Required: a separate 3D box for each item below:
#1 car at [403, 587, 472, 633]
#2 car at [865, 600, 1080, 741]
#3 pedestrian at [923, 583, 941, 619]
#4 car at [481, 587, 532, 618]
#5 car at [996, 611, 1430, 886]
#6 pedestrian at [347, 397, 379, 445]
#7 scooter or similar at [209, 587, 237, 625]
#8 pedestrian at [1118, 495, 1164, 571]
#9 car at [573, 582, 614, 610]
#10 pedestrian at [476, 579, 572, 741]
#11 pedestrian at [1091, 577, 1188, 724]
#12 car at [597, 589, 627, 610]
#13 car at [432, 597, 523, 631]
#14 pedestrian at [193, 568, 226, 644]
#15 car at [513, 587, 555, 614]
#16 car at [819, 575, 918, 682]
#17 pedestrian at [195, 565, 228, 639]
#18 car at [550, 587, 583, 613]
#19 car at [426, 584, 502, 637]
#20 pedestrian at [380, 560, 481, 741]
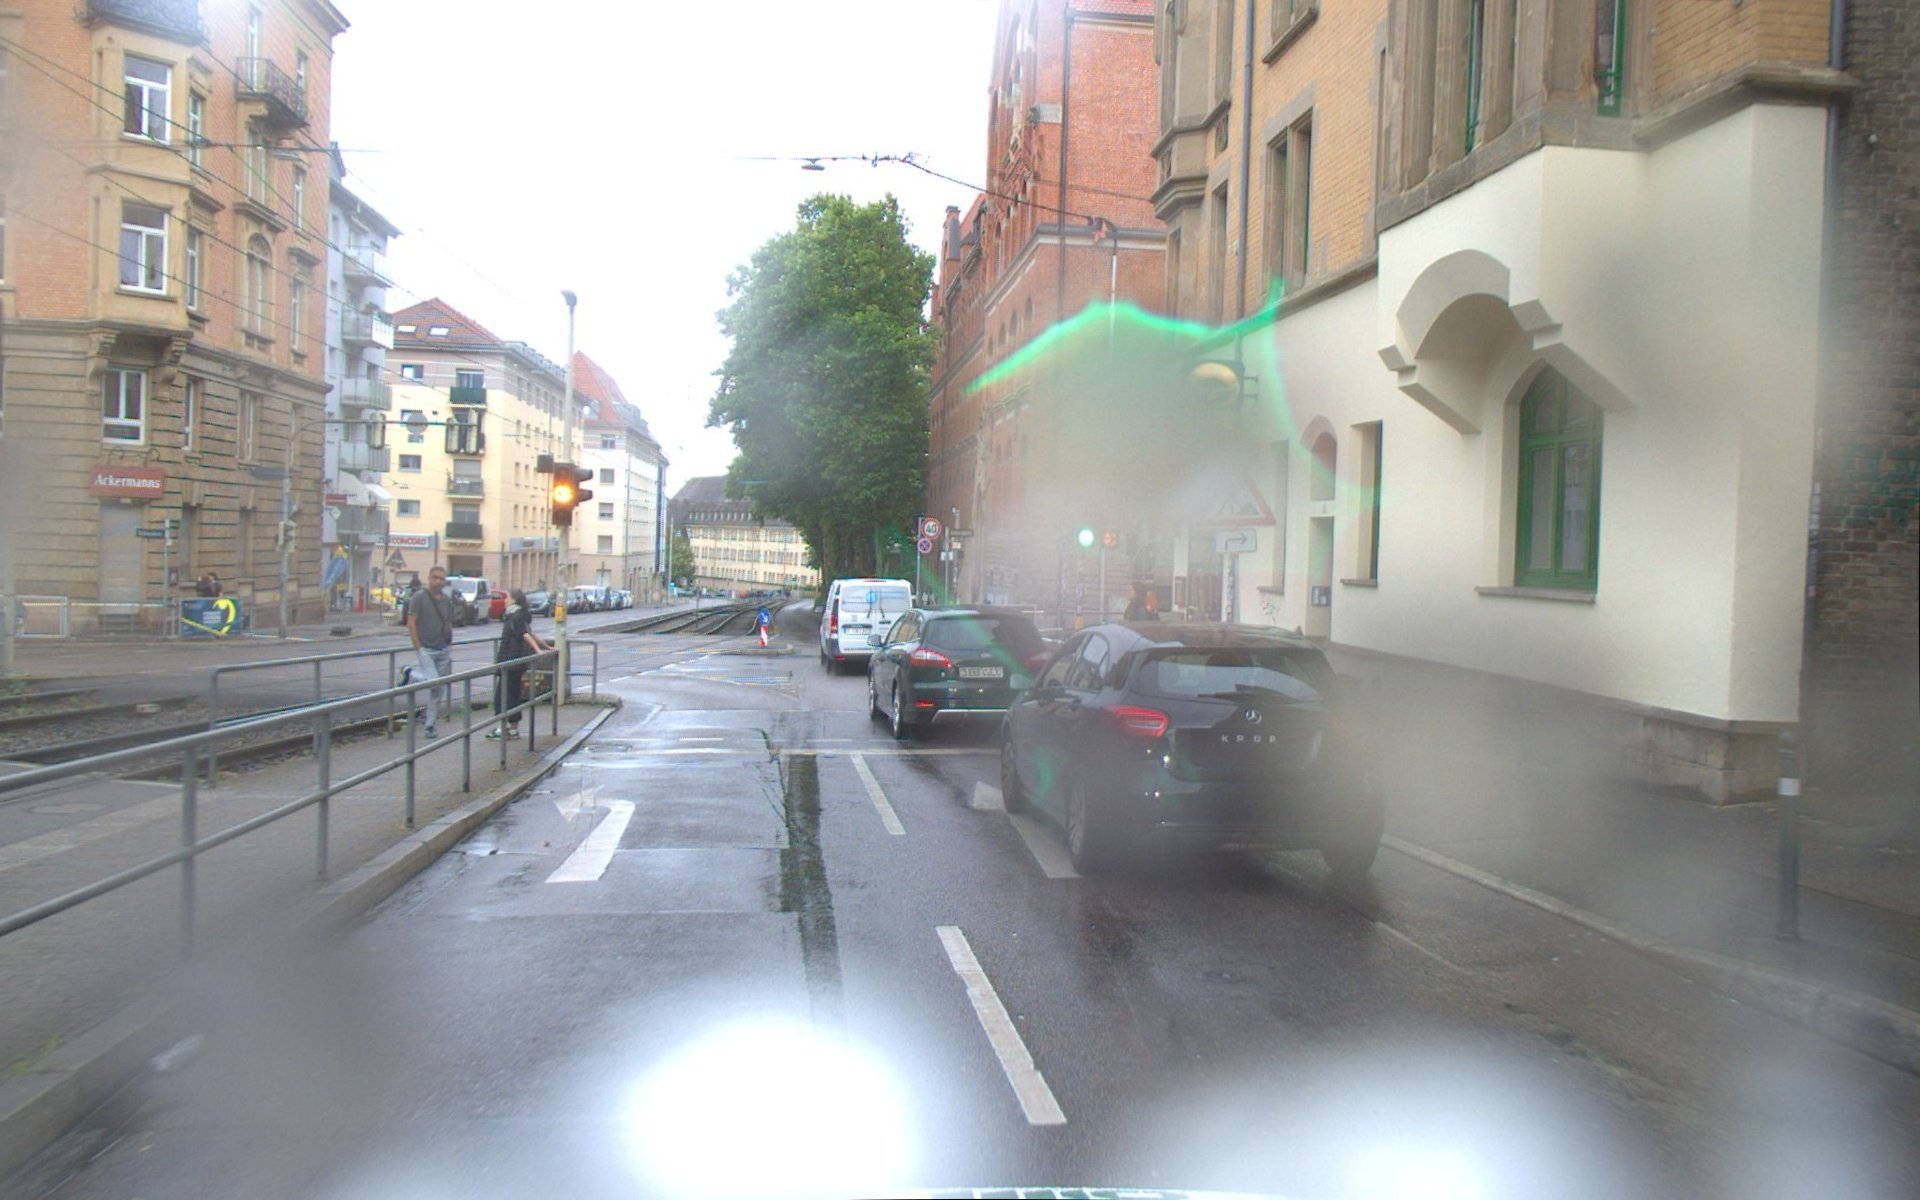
[{"bbox_3d":[-20.524,0.384,65.113,1.700,1.680,4.357,2,0,-7],"label":"car"},{"bbox_3d":[0.026,0.778,20.161,1.898,1.478,4.308,2,0,-9],"label":"car"},{"bbox_3d":[-1.344,0.028,79.562,0.807,1.708,0.859,1,-1,-4],"label":"pedestrian"},{"bbox_3d":[-22.352,0.118,81.662,1.621,1.477,4.070,1,0,-4],"label":"car"},{"bbox_3d":[1.407,0.814,10.789,1.760,1.399,3.994,2,0,-7],"label":"car"},{"bbox_3d":[-26.521,-7.952,73.447,1.151,1.962,1.174,2,0,-14],"label":"pedestrian"},{"bbox_3d":[-19.141,0.156,42.964,0.549,0.961,0.570,1,0,-36],"label":"scooter or similar"},{"bbox_3d":[4.600,-1.694,42.126,0.939,1.920,1.072,0,0,-6],"label":"pedestrian"},{"bbox_3d":[-26.921,-0.269,121.646,1.954,1.938,5.457,3,0,-3],"label":"car"},{"bbox_3d":[-4.553,0.614,17.326,0.819,1.633,1.000,1,0,-8],"label":"pedestrian"},{"bbox_3d":[2.220,0.618,20.596,0.997,1.750,0.929,-2,0,-5],"label":"pedestrian"},{"bbox_3d":[-27.573,-0.041,131.245,1.778,1.525,4.576,2,0,-6],"label":"car"},{"bbox_3d":[-22.106,0.646,75.903,1.746,1.459,3.976,1,0,28],"label":"car"},{"bbox_3d":[-18.756,0.156,41.341,0.621,1.872,0.631,1,0,-39],"label":"pedestrian"},{"bbox_3d":[-23.429,0.044,91.092,1.648,1.420,4.615,1,0,-7],"label":"car"},{"bbox_3d":[-1.945,0.562,34.235,1.708,2.049,3.897,1,0,-8],"label":"car"},{"bbox_3d":[-18.764,0.035,41.450,0.621,1.797,0.632,-2,4,-36],"label":"pedestrian"},{"bbox_3d":[-24.760,0.008,104.256,1.818,1.534,4.978,1,0,-11],"label":"car"},{"bbox_3d":[-21.303,0.415,71.220,2.030,2.044,5.295,4,0,-6],"label":"car"},{"bbox_3d":[-5.538,0.516,17.347,0.810,1.830,1.000,1,-1,-8],"label":"pedestrian"}]
